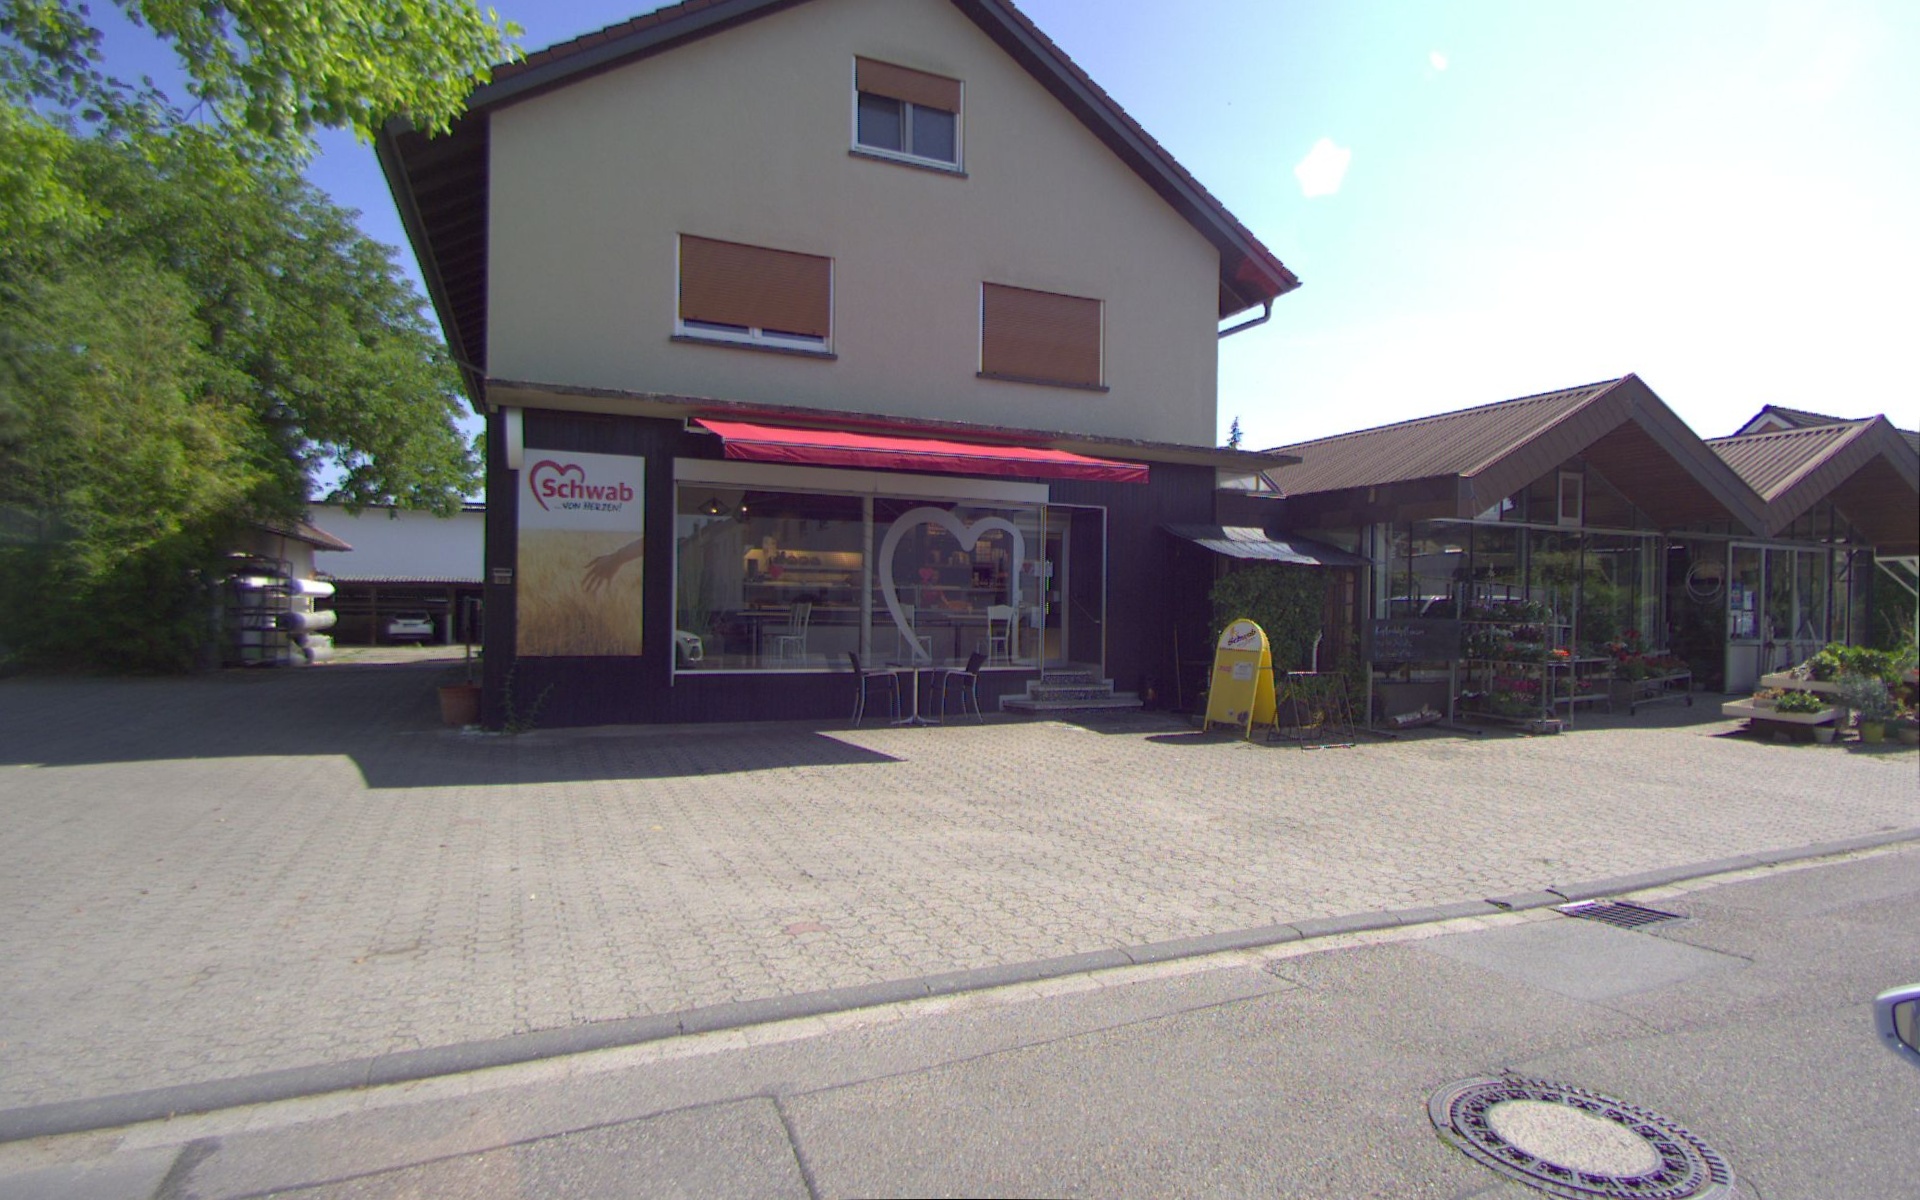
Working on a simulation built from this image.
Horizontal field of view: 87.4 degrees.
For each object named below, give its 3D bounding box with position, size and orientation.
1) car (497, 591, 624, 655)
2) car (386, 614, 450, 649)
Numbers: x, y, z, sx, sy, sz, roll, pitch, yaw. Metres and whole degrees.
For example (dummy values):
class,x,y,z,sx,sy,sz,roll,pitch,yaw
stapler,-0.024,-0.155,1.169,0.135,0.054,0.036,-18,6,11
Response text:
class,x,y,z,sx,sy,sz,roll,pitch,yaw
car,-15.896,0.923,39.980,4.587,2.441,2.181,1,-1,-26
car,-23.775,1.344,44.213,1.874,1.461,3.982,1,-1,-20
